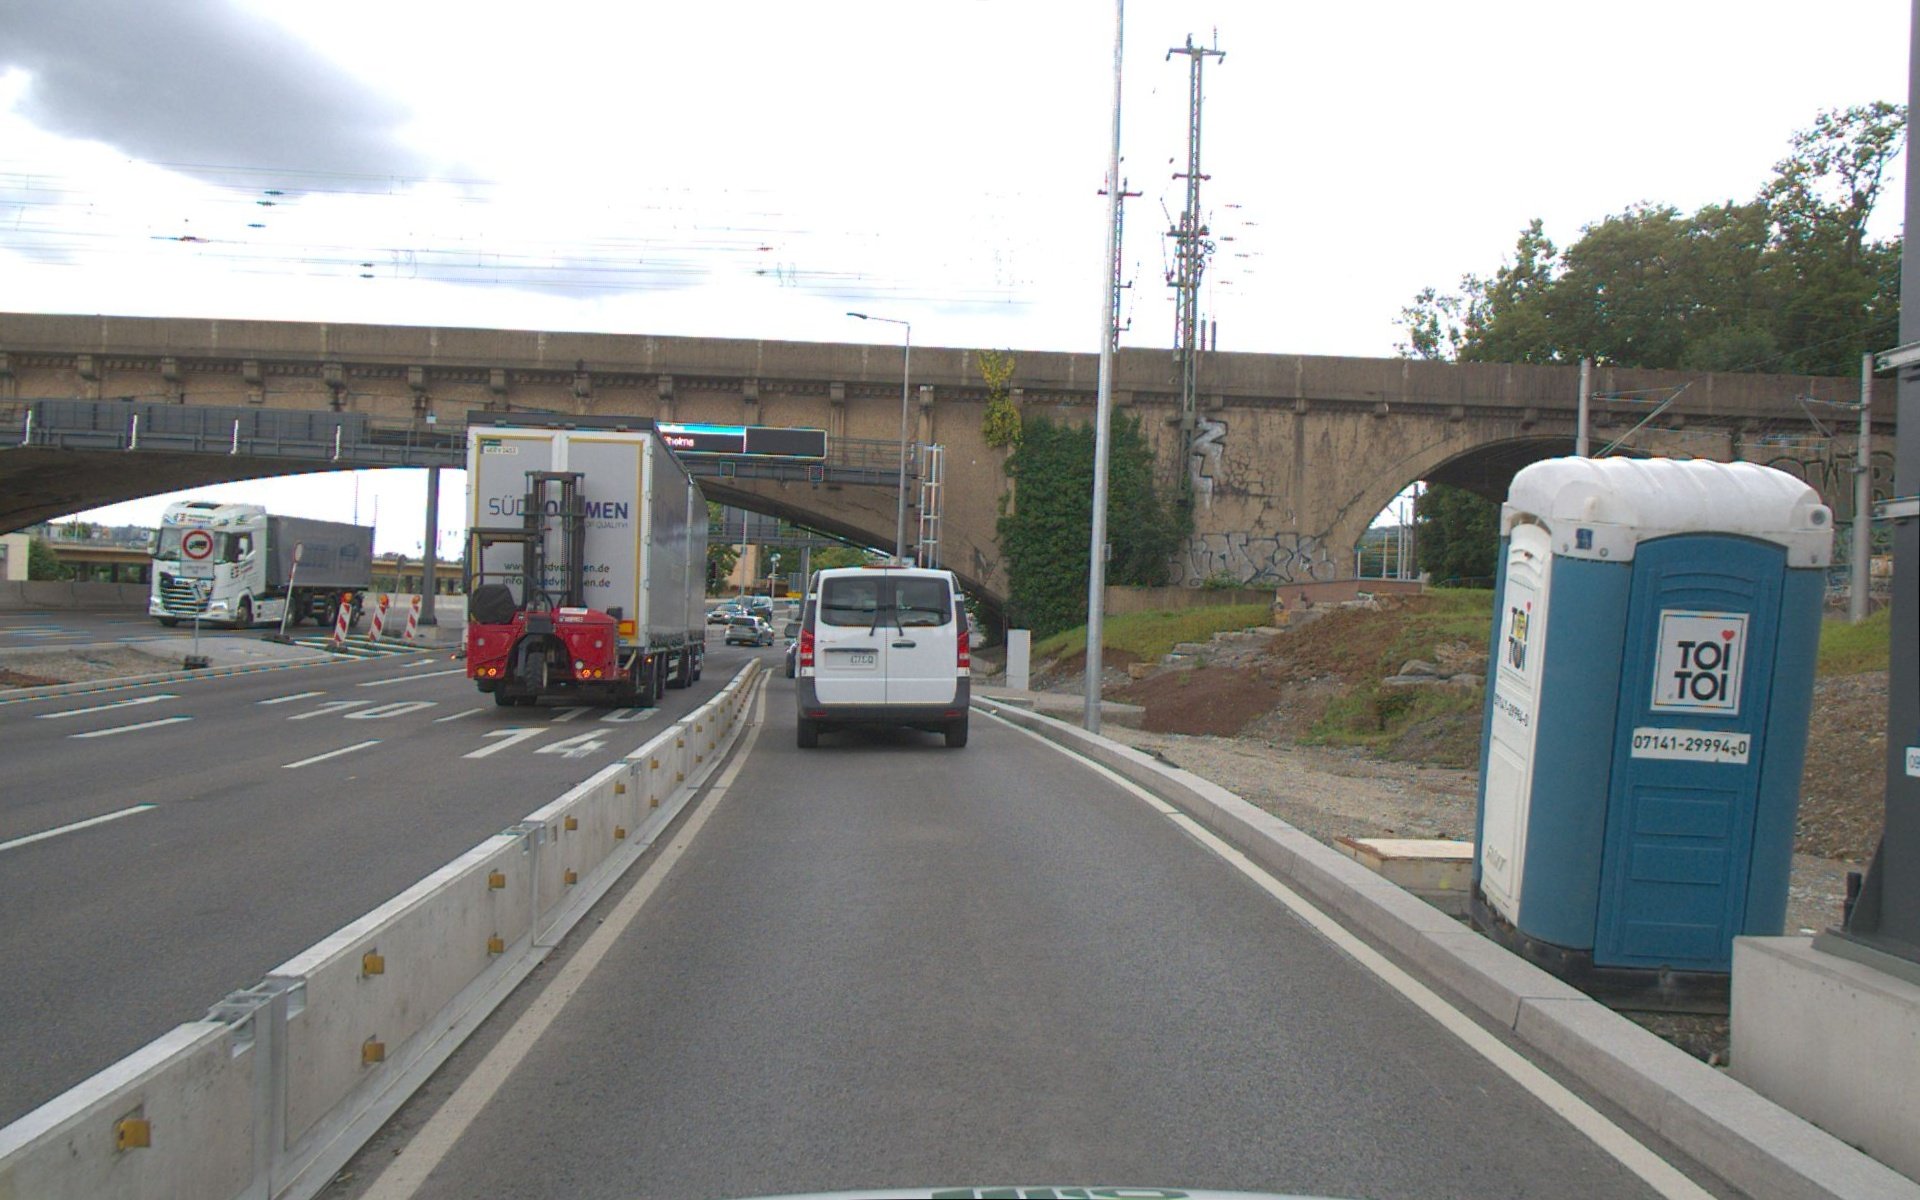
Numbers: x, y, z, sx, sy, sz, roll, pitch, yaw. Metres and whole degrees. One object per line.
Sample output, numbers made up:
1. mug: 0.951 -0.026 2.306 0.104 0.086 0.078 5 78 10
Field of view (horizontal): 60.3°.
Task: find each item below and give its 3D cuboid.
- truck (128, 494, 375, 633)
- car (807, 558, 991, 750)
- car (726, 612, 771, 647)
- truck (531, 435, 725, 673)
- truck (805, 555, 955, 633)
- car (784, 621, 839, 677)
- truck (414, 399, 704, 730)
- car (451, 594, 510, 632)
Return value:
1. truck: -23.937 -1.141 57.088 2.841 4.132 13.983 2 0 -2
2. car: -0.825 0.588 19.118 1.840 1.924 4.747 1 -1 -5
3. car: -10.544 1.461 82.685 1.721 1.579 3.999 2 0 -1
4. truck: -6.929 -0.842 36.231 2.930 4.249 11.225 3 0 -6
5. truck: -4.296 -0.160 95.736 3.247 3.875 16.601 4 0 16
6. car: -4.176 1.412 46.734 1.471 1.495 3.395 2 -3 -5
7. truck: -5.907 -0.429 26.269 2.861 4.087 10.188 3 0 -6
8. car: -21.492 0.577 74.275 1.672 1.649 4.448 -1 0 -5
